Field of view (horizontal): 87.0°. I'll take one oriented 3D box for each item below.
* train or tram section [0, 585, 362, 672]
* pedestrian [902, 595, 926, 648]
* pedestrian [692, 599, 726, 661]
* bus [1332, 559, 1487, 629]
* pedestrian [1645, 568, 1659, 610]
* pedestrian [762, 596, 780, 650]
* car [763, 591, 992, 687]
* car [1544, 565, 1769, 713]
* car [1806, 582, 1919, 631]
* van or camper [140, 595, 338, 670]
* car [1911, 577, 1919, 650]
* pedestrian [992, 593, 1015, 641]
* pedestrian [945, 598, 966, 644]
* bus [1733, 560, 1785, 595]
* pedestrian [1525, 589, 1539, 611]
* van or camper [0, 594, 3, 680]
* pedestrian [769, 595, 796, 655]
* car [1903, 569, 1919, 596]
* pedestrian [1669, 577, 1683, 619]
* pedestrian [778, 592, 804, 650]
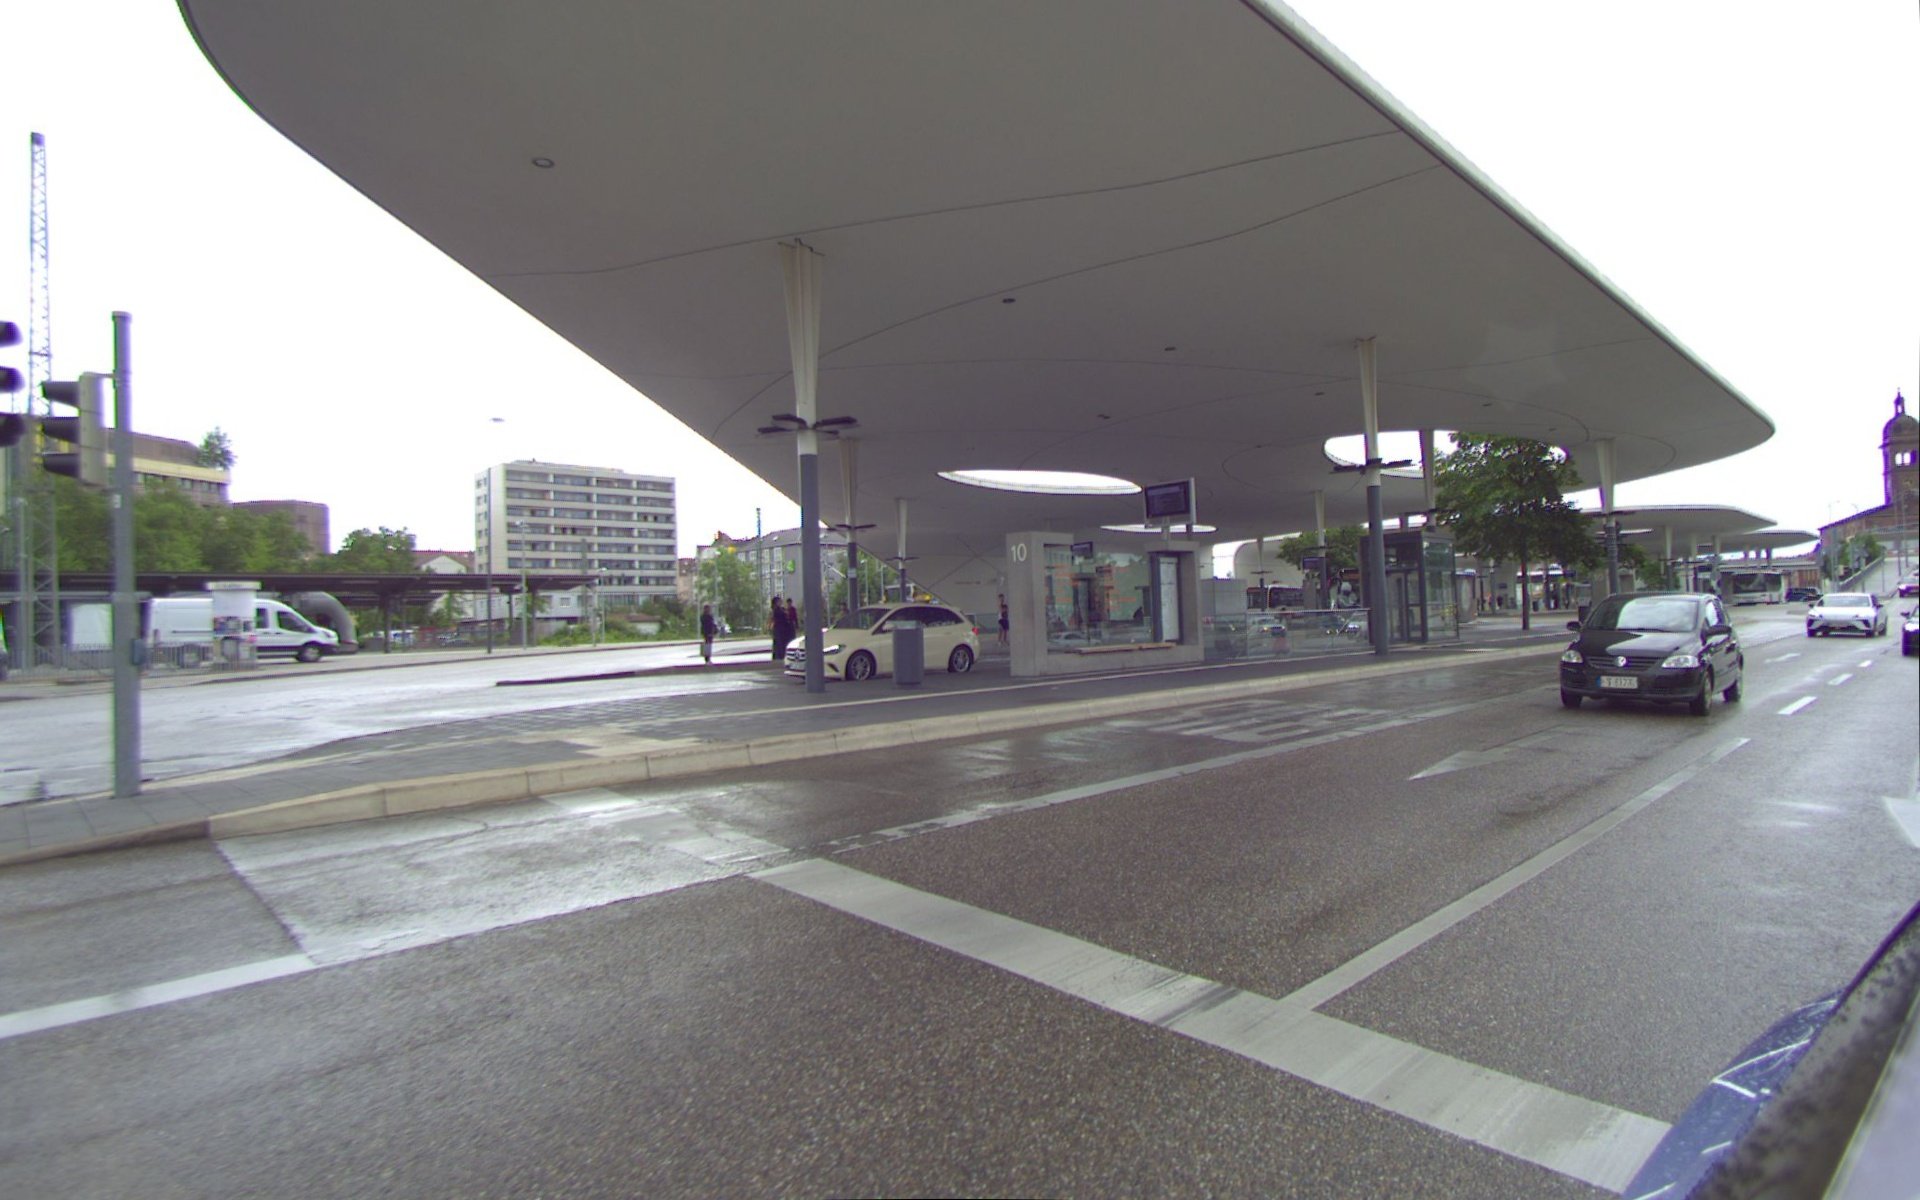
[{"bbox_3d":[-48.506,1.455,53.557,28.827,4.234,4.594,-2,1,-44],"label":"train or tram section"},{"bbox_3d":[-1.359,0.636,29.987,0.526,1.533,0.478,-1,-1,-40],"label":"pedestrian"},{"bbox_3d":[-6.731,0.783,27.173,0.726,1.615,0.643,-1,0,-29],"label":"pedestrian"},{"bbox_3d":[22.680,-0.292,50.547,11.724,3.121,2.871,0,0,-44],"label":"bus"},{"bbox_3d":[30.027,-0.472,43.920,0.443,1.786,0.529,-2,-1,40],"label":"pedestrian"},{"bbox_3d":[-5.383,0.644,28.884,0.469,1.533,0.536,-1,-1,-9],"label":"pedestrian"},{"bbox_3d":[-1.608,0.691,20.841,4.467,1.702,1.995,-2,1,-44],"label":"car"},{"bbox_3d":[9.678,0.444,13.934,1.872,1.723,4.090,0,0,45],"label":"car"},{"bbox_3d":[31.394,0.196,34.893,3.965,1.578,1.816,-1,1,-23],"label":"car"},{"bbox_3d":[-26.618,1.104,37.551,5.768,2.464,1.995,-1,1,-44],"label":"van or camper"},{"bbox_3d":[24.698,0.278,24.526,4.083,1.723,1.875,-1,1,-39],"label":"car"},{"bbox_3d":[1.397,0.559,32.718,0.526,1.533,0.478,-1,-1,-40],"label":"pedestrian"},{"bbox_3d":[-0.145,0.715,34.685,0.516,1.533,0.478,-1,-1,-40],"label":"pedestrian"},{"bbox_3d":[75.777,-2.100,96.167,3.564,3.137,10.610,-1,0,37],"label":"bus"},{"bbox_3d":[51.718,-0.001,91.513,1.015,2.039,0.872,0,0,27],"label":"pedestrian"},{"bbox_3d":[-30.526,1.082,30.275,5.837,2.464,2.134,0,1,41],"label":"van or camper"},{"bbox_3d":[-4.596,0.633,26.236,0.470,1.533,0.534,-1,-1,-39],"label":"pedestrian"},{"bbox_3d":[73.155,-1.322,76.988,1.994,2.039,3.936,0,1,45],"label":"car"},{"bbox_3d":[30.794,-0.077,43.514,0.443,1.786,0.531,-1,-1,33],"label":"pedestrian"},{"bbox_3d":[-4.525,0.566,27.086,0.470,1.533,0.534,-1,-1,-39],"label":"pedestrian"}]
